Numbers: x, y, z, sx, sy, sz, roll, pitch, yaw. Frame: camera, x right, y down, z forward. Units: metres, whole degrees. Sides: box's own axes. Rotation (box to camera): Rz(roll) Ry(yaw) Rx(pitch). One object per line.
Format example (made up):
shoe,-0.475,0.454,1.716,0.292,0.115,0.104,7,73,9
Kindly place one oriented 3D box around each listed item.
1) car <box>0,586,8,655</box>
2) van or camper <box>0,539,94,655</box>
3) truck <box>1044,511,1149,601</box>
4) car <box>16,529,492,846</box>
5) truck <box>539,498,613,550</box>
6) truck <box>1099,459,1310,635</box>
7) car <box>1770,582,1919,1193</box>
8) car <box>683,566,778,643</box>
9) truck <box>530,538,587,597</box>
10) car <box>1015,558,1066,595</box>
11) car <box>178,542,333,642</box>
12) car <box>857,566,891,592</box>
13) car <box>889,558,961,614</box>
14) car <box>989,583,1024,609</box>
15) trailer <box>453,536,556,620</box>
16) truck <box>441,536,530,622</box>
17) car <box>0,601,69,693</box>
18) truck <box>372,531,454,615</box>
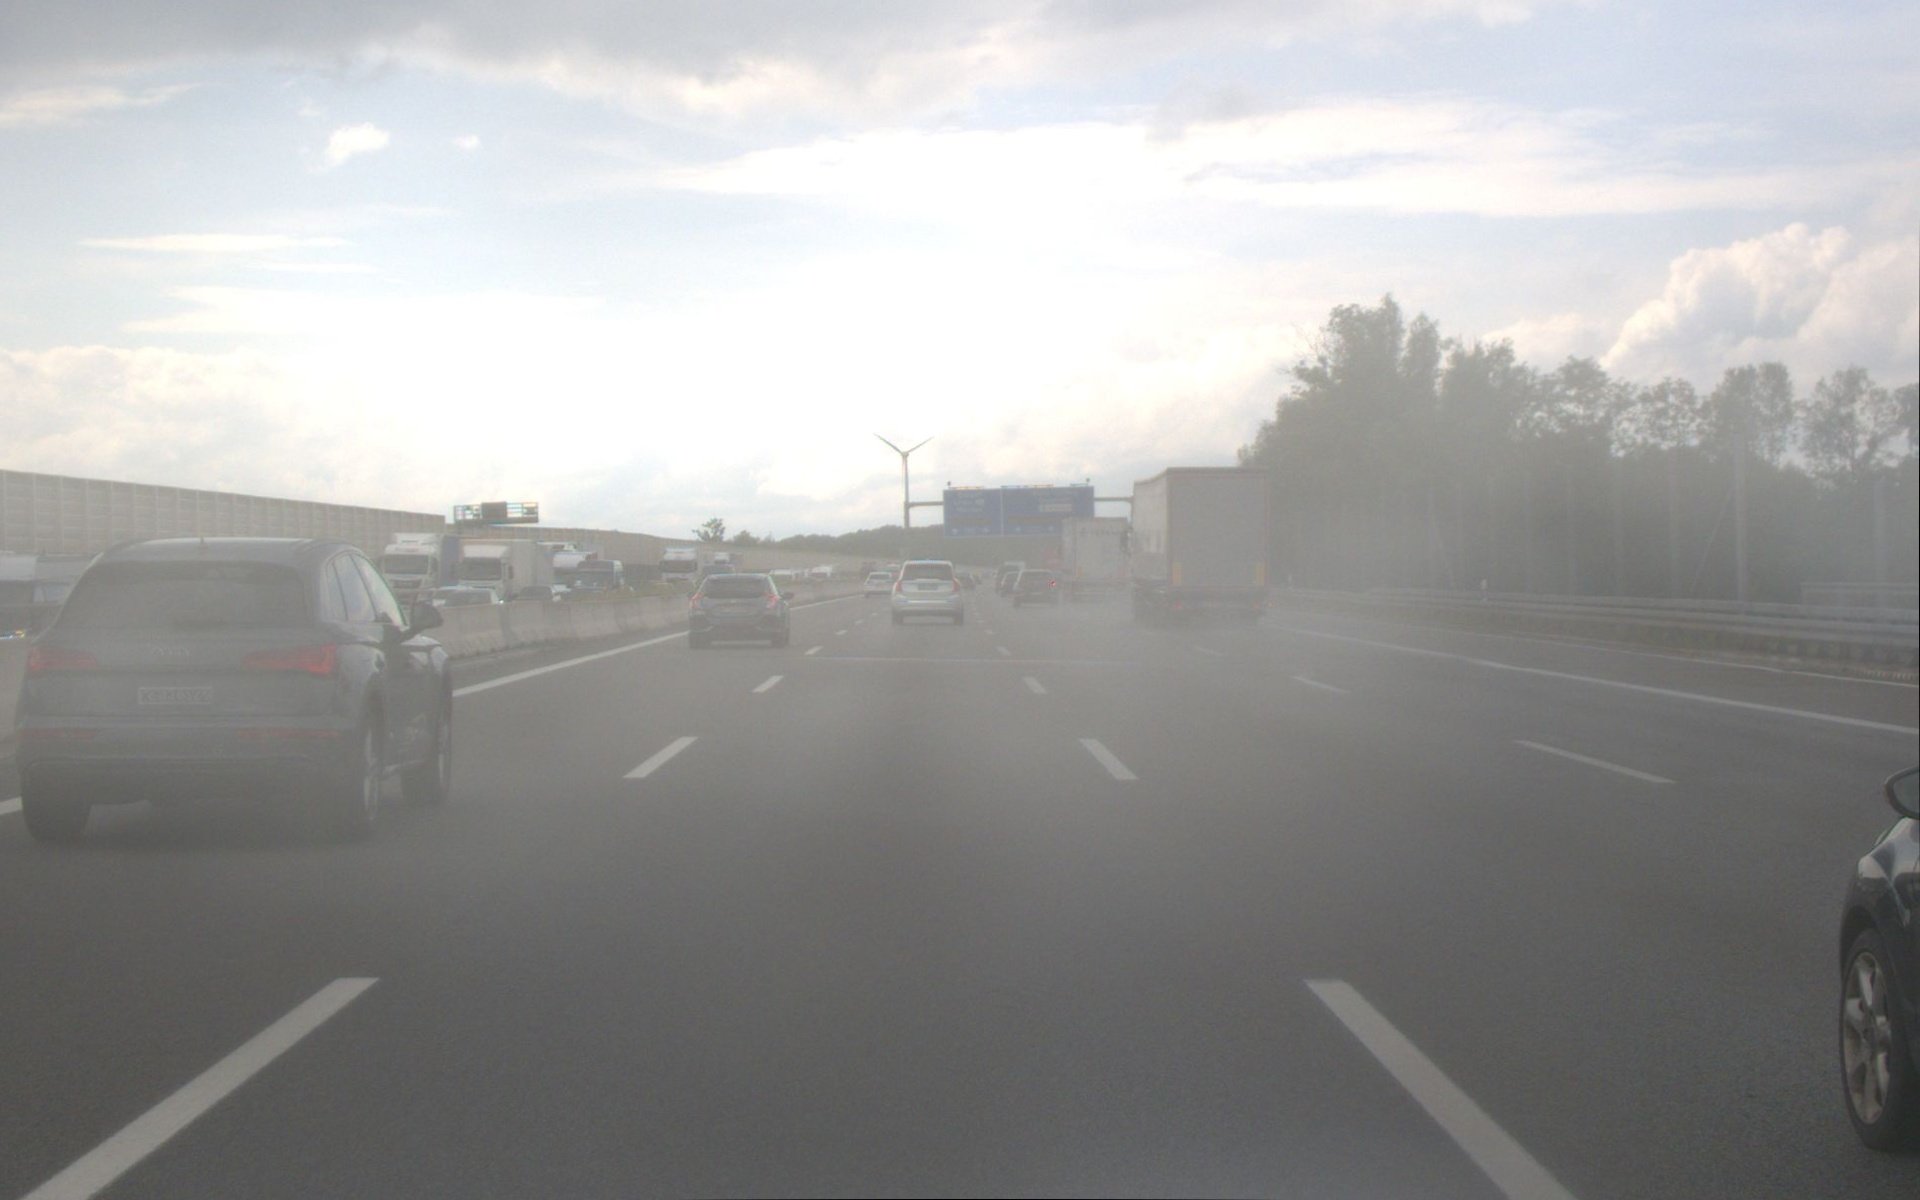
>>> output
car,-22.403,0.503,75.210,1.747,1.520,5.140,-1,1,0
van or camper,-22.561,-0.112,81.358,2.344,2.632,7.150,-1,1,0
truck,6.525,-2.155,166.806,4.243,4.162,11.990,1,1,-2
car,-4.099,0.419,20.847,1.908,1.685,5.169,0,1,-1
truck,-25.937,-5.120,233.089,3.266,3.340,16.085,1,1,0
truck,6.285,-1.419,91.016,4.179,4.273,12.614,1,1,-2
car,3.015,0.698,7.984,1.447,1.436,3.164,0,1,-1
car,-4.426,0.063,66.535,1.760,1.364,5.061,0,1,-3
truck,-23.270,-1.919,199.447,2.321,3.336,8.353,1,1,0
car,3.288,-0.984,141.020,1.835,1.436,4.056,0,1,-2
car,-15.352,-0.217,75.242,2.159,2.064,6.015,-1,1,0
car,-4.890,-1.213,195.436,1.772,1.436,3.874,0,1,-3
car,-0.990,-0.405,94.141,1.772,1.436,4.056,0,1,-3
car,2.698,-0.255,200.415,1.835,1.436,4.056,0,1,-2
trailer,-22.422,-1.158,170.057,3.079,3.921,14.983,1,1,0
truck,-22.413,-1.041,162.875,3.079,3.921,8.054,1,1,0
car,-19.043,0.889,67.095,2.079,1.653,4.802,-1,1,0
truck,-27.433,-1.378,172.773,2.710,4.061,8.915,1,1,0
